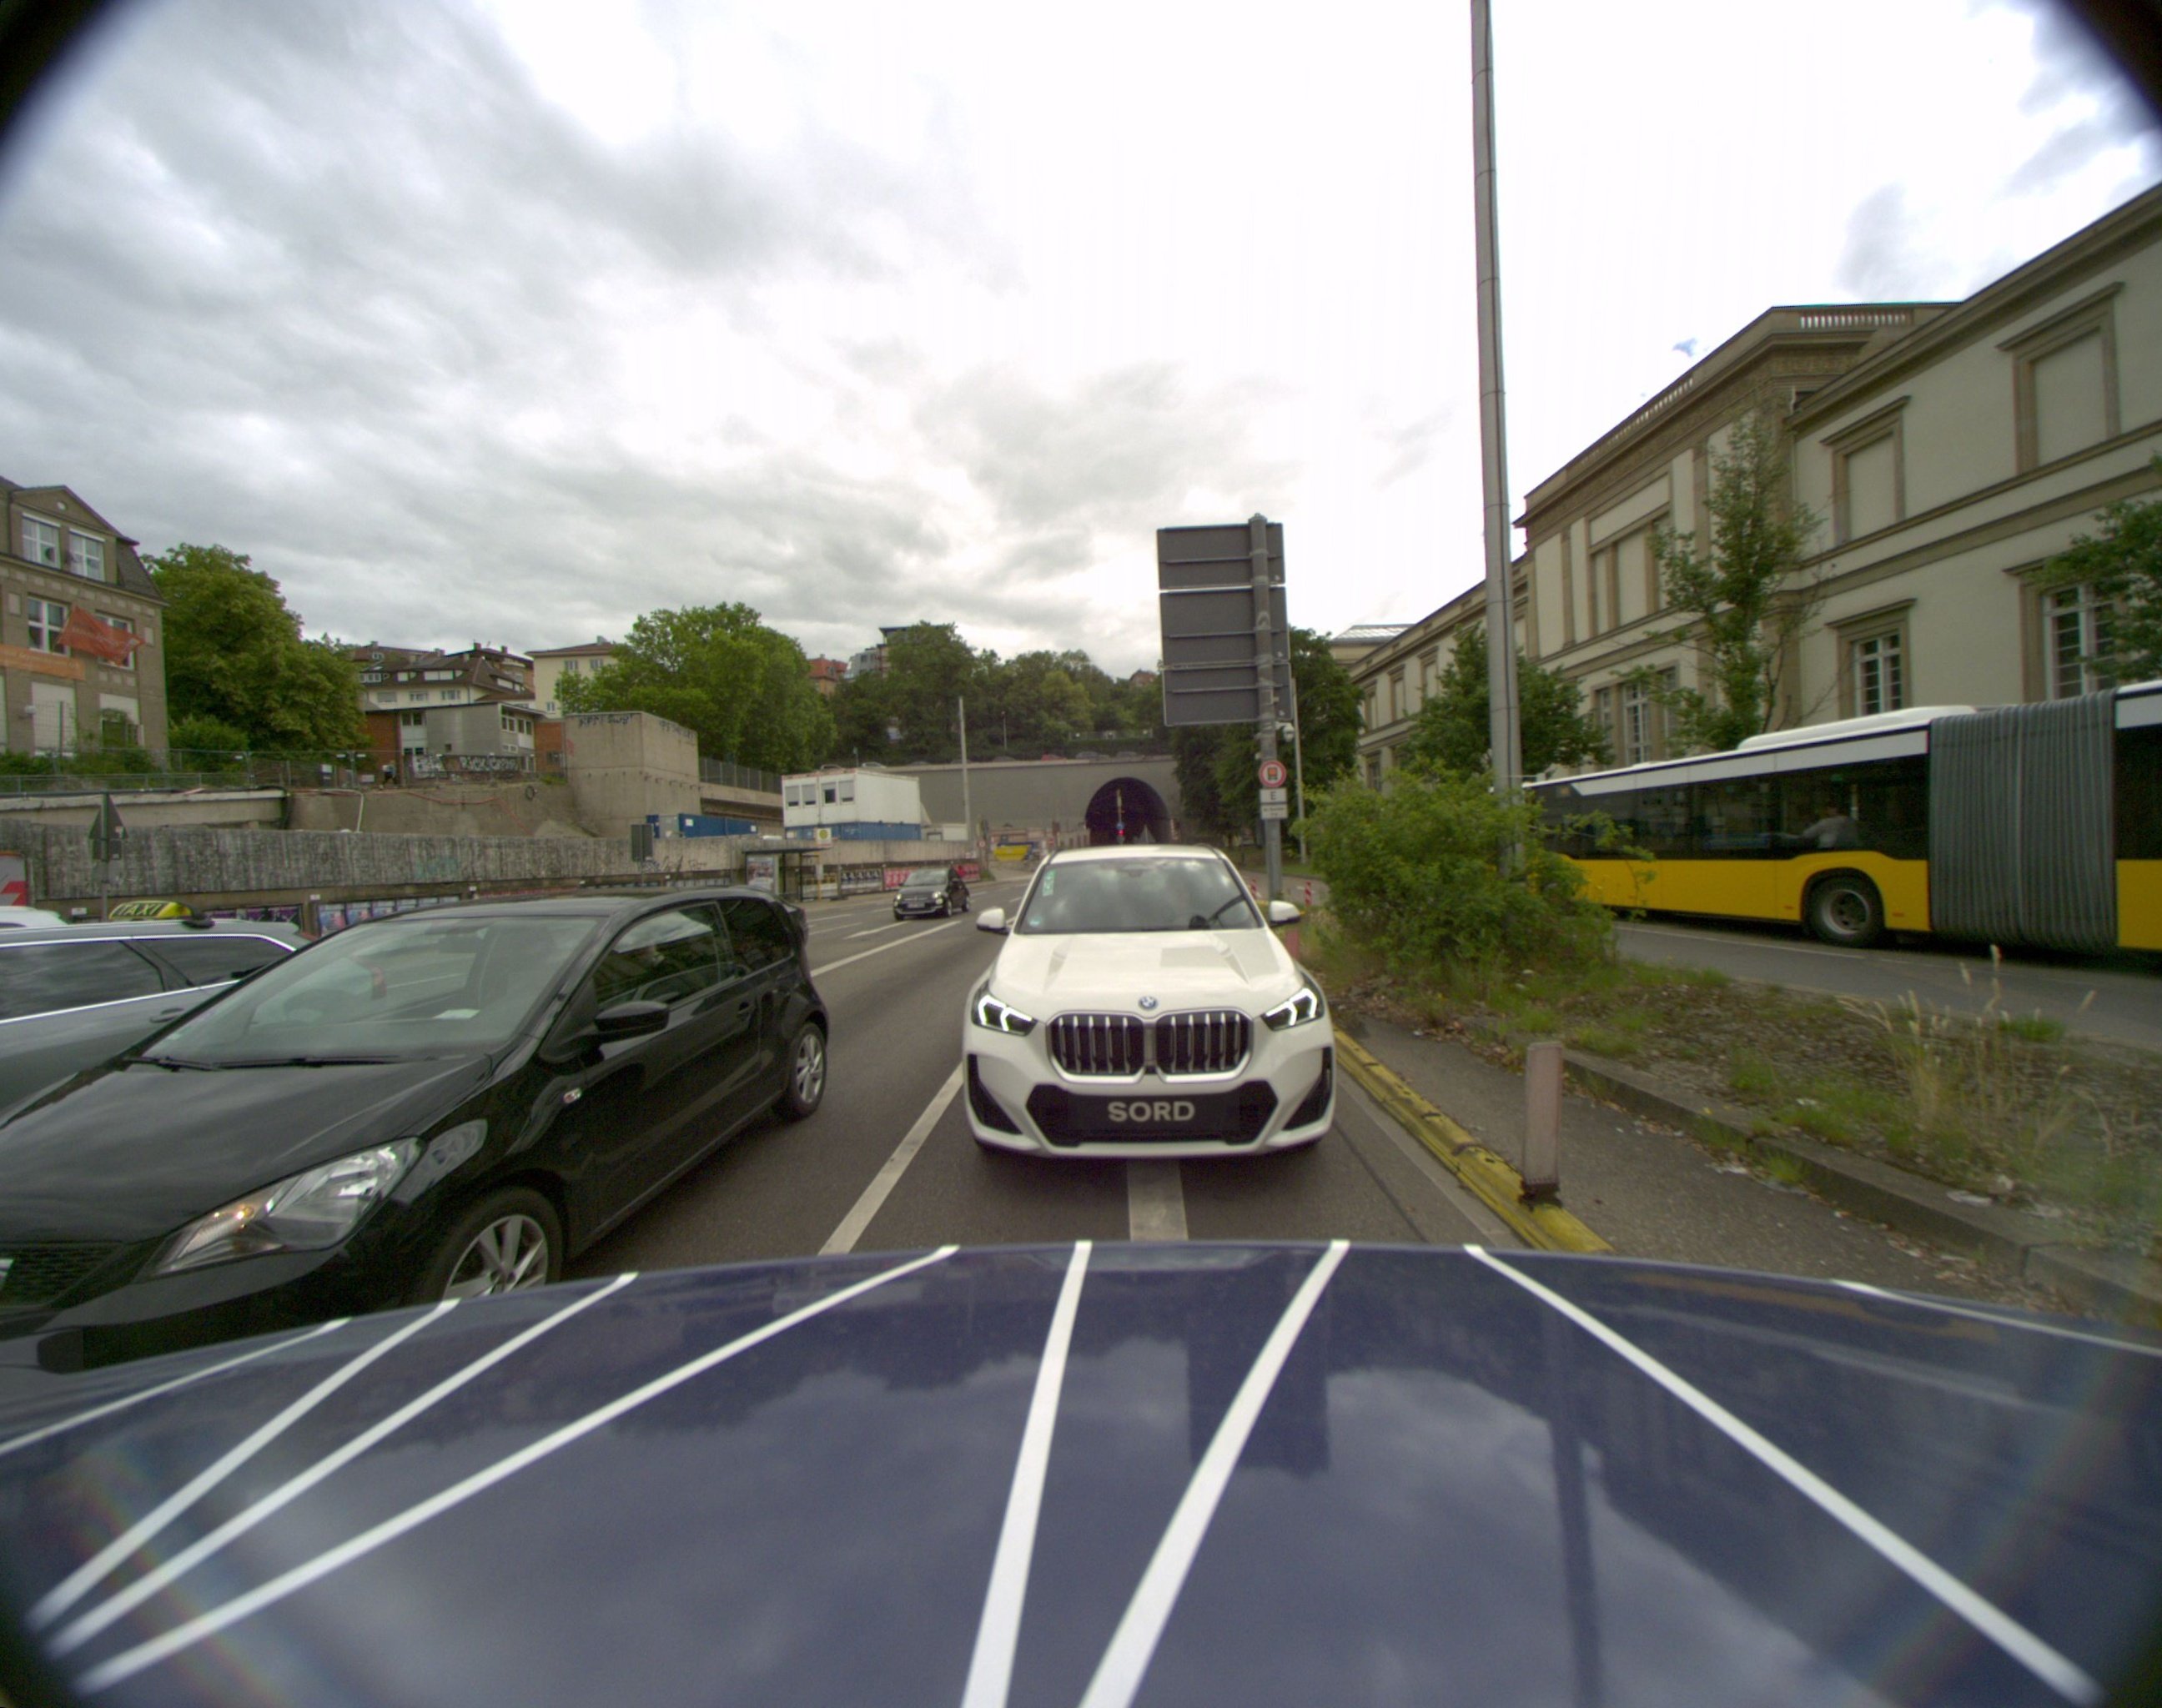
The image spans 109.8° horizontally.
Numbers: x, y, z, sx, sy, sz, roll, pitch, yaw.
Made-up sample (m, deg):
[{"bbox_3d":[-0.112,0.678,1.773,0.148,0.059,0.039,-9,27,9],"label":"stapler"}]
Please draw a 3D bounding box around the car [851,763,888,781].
[{"bbox_3d":[-26.017,-10.069,93.374,3.998,2.002,1.999,-2,1,-5],"label":"car"}]

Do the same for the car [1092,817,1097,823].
[{"bbox_3d":[4.295,-10.806,242.982,1.667,1.582,3.882,-1,0,2],"label":"car"}]

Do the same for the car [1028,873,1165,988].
[{"bbox_3d":[0.229,1.050,11.888,1.728,1.310,4.000,-3,0,1],"label":"car"}]

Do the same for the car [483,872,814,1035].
[{"bbox_3d":[-5.472,1.129,10.468,1.704,1.550,4.551,-3,0,3],"label":"car"}]

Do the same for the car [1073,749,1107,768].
[{"bbox_3d":[1.098,-11.822,94.488,3.998,2.002,1.999,-2,1,-2],"label":"car"}]

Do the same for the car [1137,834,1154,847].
[{"bbox_3d":[8.321,-1.726,97.976,1.705,1.463,4.629,-3,0,-1],"label":"car"}]

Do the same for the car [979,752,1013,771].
[{"bbox_3d":[-10.486,-11.396,94.009,3.998,2.002,1.999,-2,1,-2],"label":"car"}]

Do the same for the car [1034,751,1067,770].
[{"bbox_3d":[-3.780,-11.644,94.404,3.998,2.002,1.999,-2,1,-2],"label":"car"}]

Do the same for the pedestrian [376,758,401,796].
[{"bbox_3d":[-37.612,-4.190,41.281,0.646,2.002,0.666,-2,1,-3],"label":"pedestrian"}]

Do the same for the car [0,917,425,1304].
[{"bbox_3d":[-5.863,1.306,3.264,1.826,1.562,4.654,-3,0,3],"label":"car"}]

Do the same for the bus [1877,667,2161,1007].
[{"bbox_3d":[11.268,-0.209,4.770,2.853,3.096,9.121,-3,0,0],"label":"bus"}]

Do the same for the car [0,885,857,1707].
[{"bbox_3d":[-2.509,1.004,3.412,1.667,1.487,3.882,-3,0,2],"label":"car"}]

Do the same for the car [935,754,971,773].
[{"bbox_3d":[-15.805,-11.201,93.898,3.998,2.002,1.999,-2,1,-2],"label":"car"}]

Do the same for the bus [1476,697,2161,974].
[{"bbox_3d":[11.195,-0.220,13.708,2.853,3.096,9.747,-3,0,-1],"label":"bus"}]

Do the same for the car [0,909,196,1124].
[{"bbox_3d":[-9.164,1.346,4.855,1.705,1.550,4.549,-3,0,-2],"label":"car"}]

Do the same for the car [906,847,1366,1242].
[{"bbox_3d":[0.292,0.801,5.123,1.848,1.581,3.882,-3,0,2],"label":"car"}]

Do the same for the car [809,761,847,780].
[{"bbox_3d":[-31.066,-10.257,93.311,3.998,2.002,1.999,-2,1,-5],"label":"car"}]

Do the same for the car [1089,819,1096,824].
[{"bbox_3d":[3.628,-10.268,240.174,1.711,1.505,4.288,-3,0,-1],"label":"car"}]

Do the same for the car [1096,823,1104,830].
[{"bbox_3d":[4.673,-6.788,188.246,1.711,1.505,4.287,0,0,-3],"label":"car"}]

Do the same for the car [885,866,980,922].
[{"bbox_3d":[-4.434,1.152,23.312,1.730,1.435,4.001,-3,0,5],"label":"car"}]

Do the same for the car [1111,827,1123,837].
[{"bbox_3d":[6.436,-3.993,136.173,1.701,1.580,3.882,-3,0,-1],"label":"car"}]
